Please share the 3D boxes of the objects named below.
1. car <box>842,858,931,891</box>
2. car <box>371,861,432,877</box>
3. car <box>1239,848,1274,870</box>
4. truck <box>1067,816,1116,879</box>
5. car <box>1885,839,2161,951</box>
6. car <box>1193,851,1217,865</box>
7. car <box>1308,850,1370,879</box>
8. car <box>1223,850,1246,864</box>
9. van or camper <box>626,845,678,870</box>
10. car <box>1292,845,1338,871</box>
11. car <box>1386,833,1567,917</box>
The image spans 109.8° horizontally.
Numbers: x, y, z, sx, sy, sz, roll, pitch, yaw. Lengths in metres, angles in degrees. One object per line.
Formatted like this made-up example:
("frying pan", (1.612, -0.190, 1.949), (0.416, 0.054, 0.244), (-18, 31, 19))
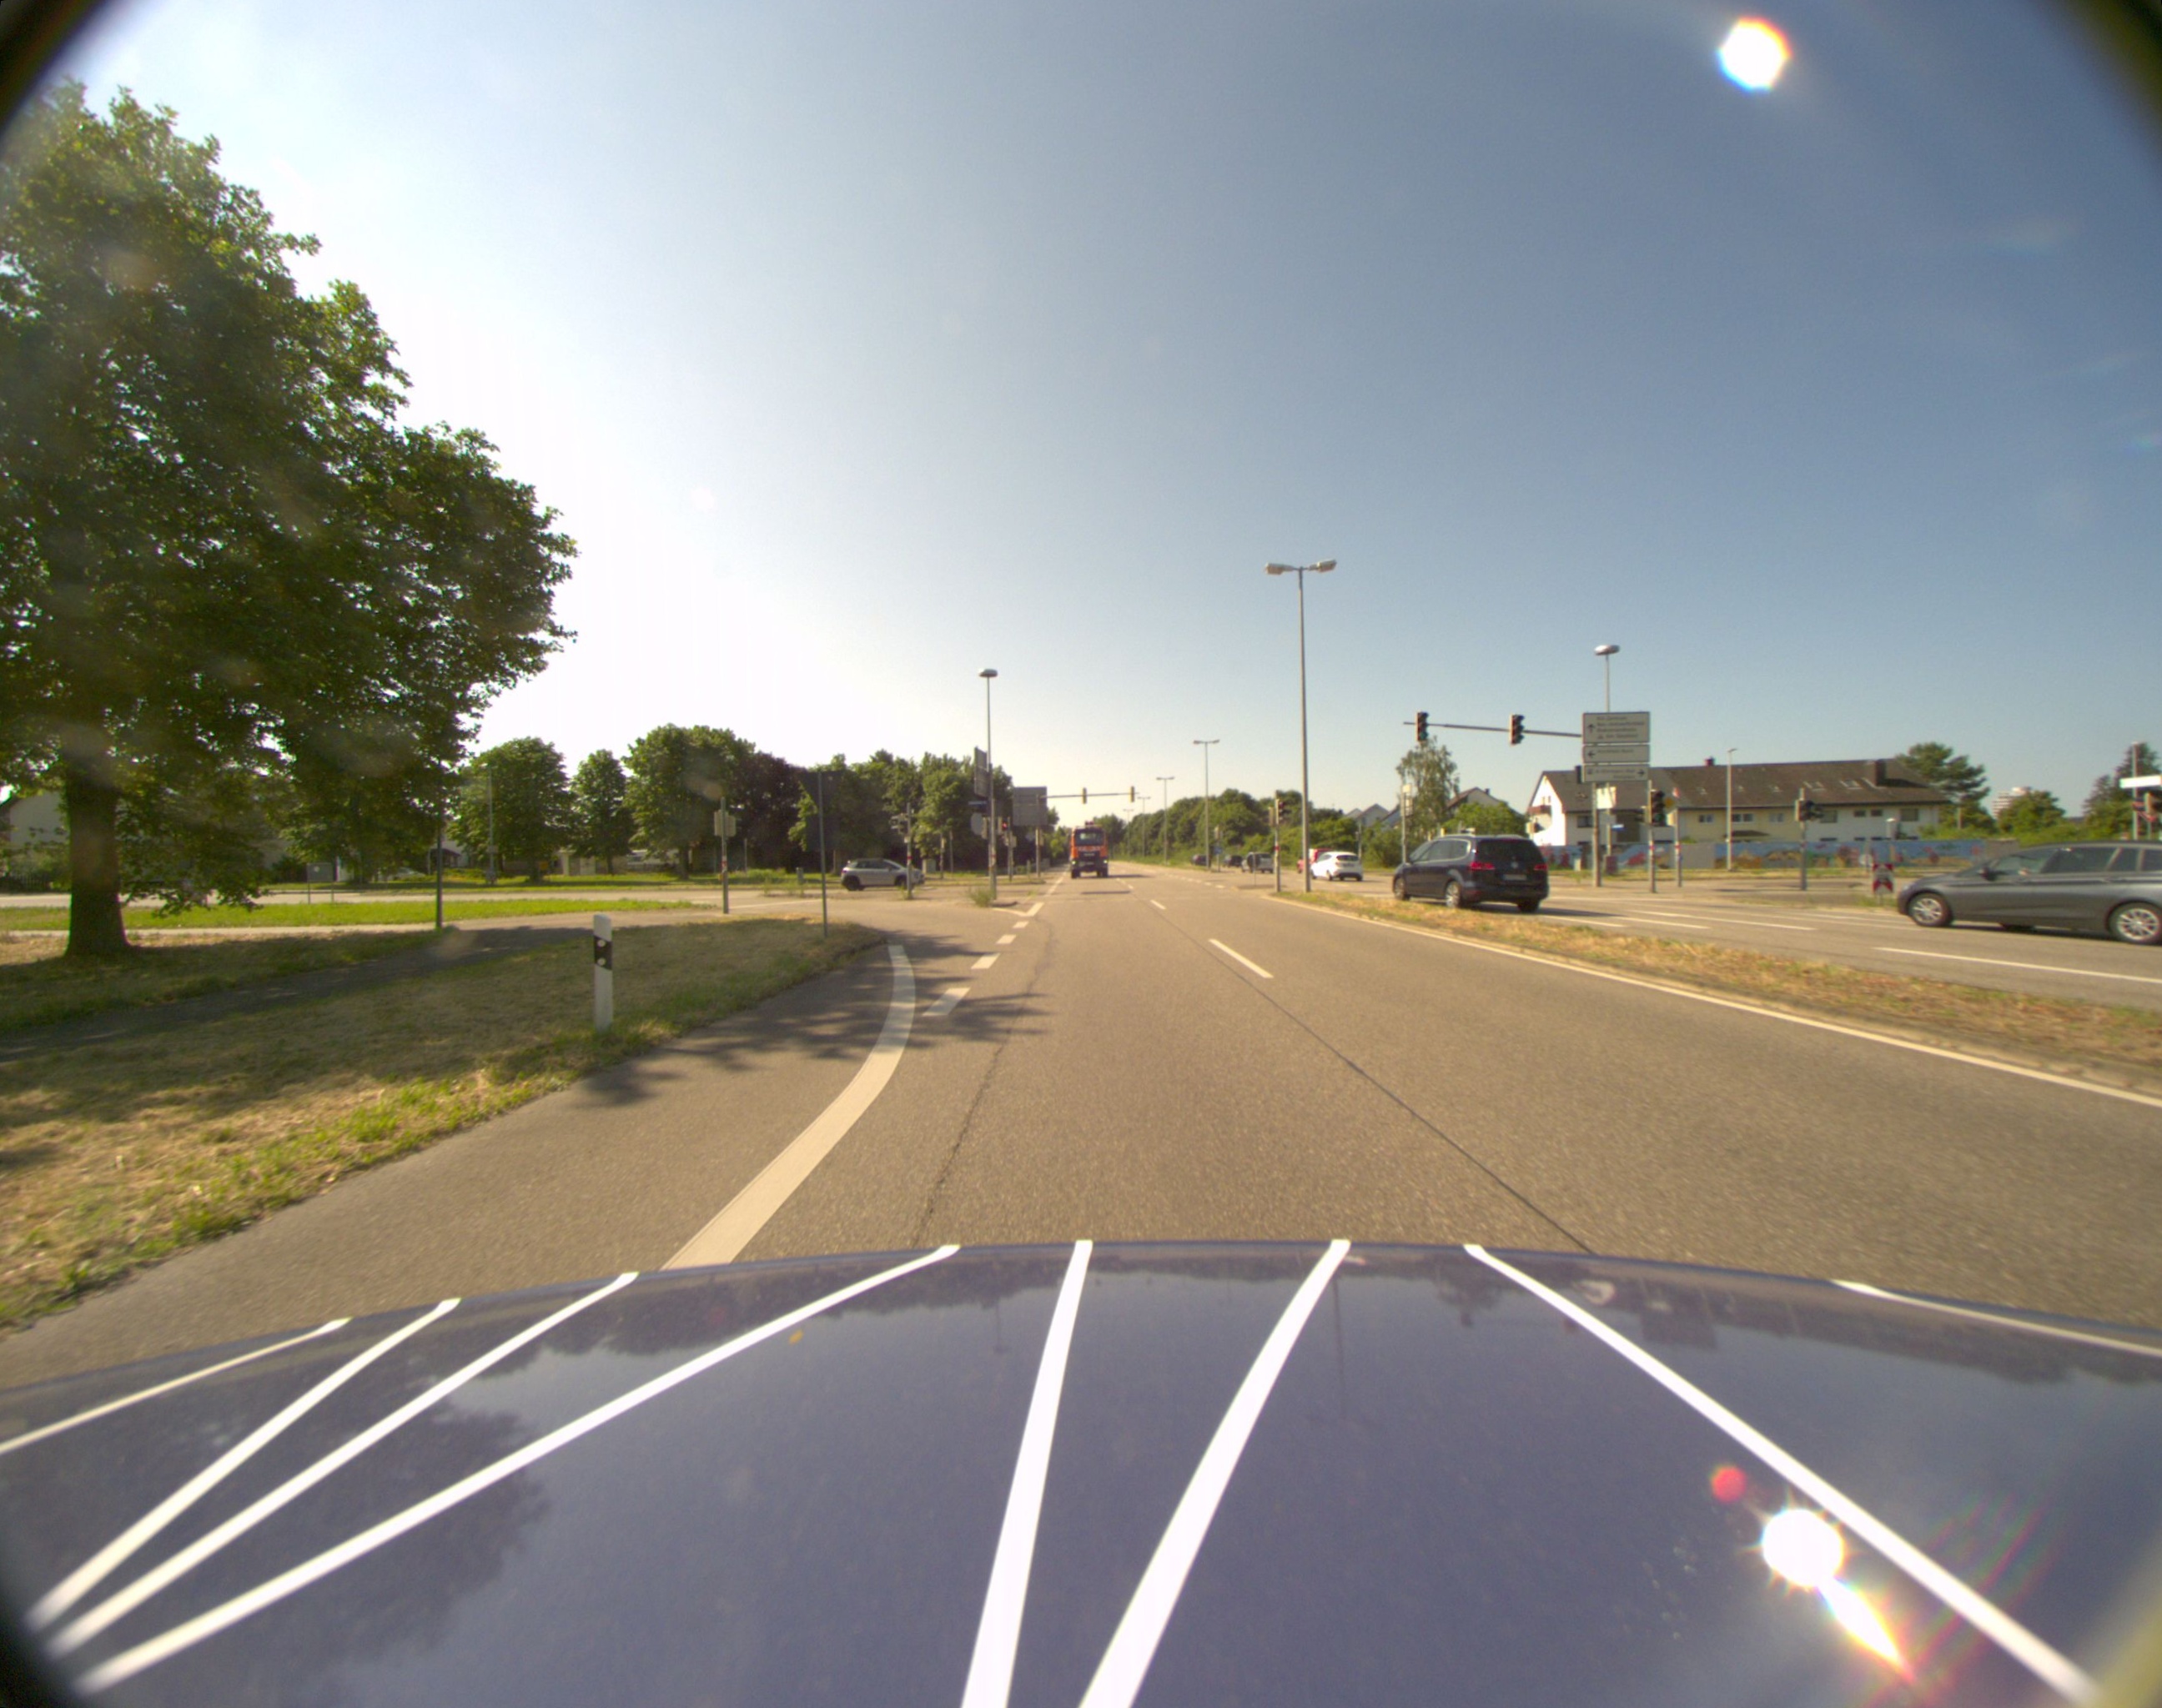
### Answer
("car", (-9.905, 1.030, 38.926), (4.062, 1.555, 1.742), (-1, 1, 0))
("car", (-60.642, 1.336, 67.905), (1.731, 1.280, 4.000), (-1, 0, 1))
("car", (12.533, 0.336, 54.395), (1.623, 1.449, 3.871), (-1, 0, 0))
("truck", (0.706, -0.457, 50.840), (2.940, 3.852, 6.590), (-2, 1, 1))
("car", (16.639, 0.601, 12.484), (2.077, 1.613, 4.489), (1, 0, 0))
("car", (13.211, 0.393, 81.136), (1.986, 1.449, 4.333), (-1, 0, 3))
("car", (13.062, 0.511, 38.706), (1.833, 1.378, 3.842), (-1, 0, 0))
("car", (16.819, 0.289, 83.254), (1.889, 1.449, 4.230), (-1, 0, 3))
("van or camper", (-49.825, 0.415, 88.300), (4.812, 2.815, 1.999), (-1, 1, -2))
("car", (16.370, 0.248, 53.270), (1.709, 1.759, 4.227), (0, 0, -3))
("car", (9.156, 0.426, 18.119), (1.986, 1.740, 4.507), (1, 0, 1))
